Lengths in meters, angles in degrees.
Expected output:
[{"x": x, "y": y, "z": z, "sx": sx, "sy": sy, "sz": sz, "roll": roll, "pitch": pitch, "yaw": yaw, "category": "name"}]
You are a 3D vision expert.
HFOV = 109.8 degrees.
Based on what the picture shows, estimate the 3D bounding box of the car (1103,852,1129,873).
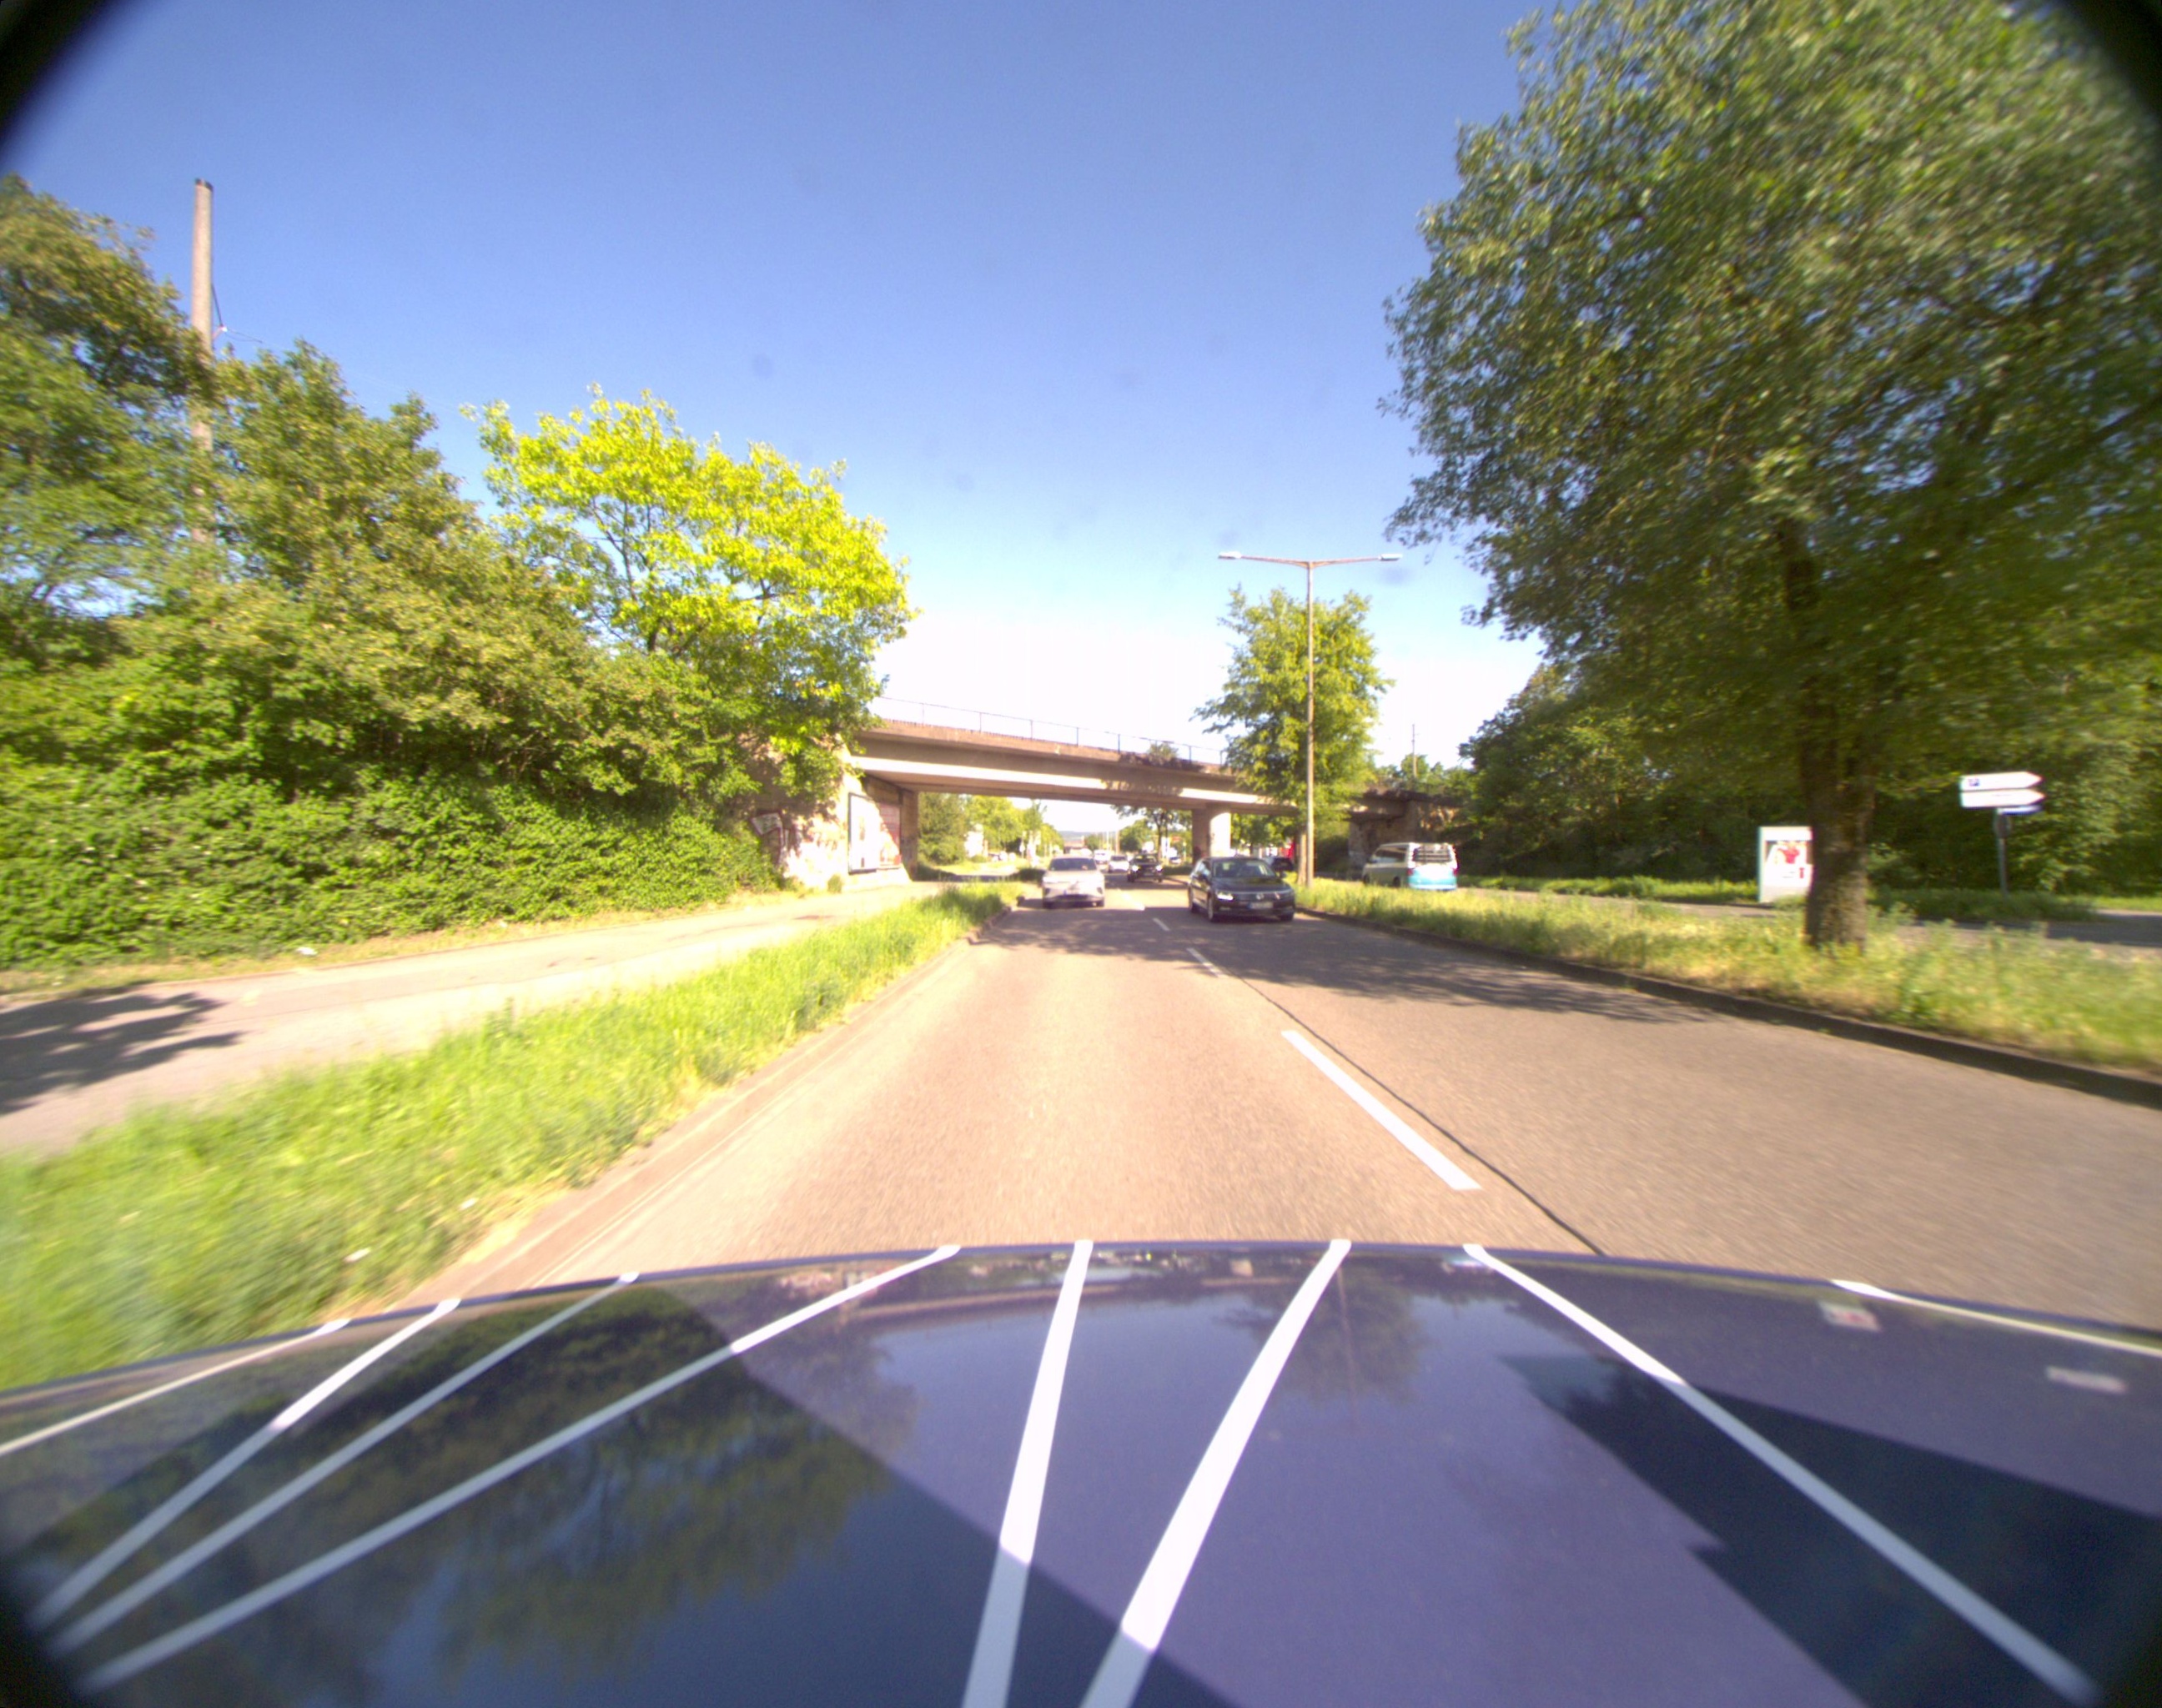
[{"x": 3.020, "y": 0.707, "z": 66.471, "sx": 1.998, "sy": 1.779, "sz": 4.270, "roll": -1, "pitch": 1, "yaw": 0, "category": "car"}]

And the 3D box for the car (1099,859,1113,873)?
[{"x": 4.064, "y": 1.945, "z": 123.025, "sx": 2.089, "sy": 2.230, "sz": 3.999, "roll": -1, "pitch": 1, "yaw": 0, "category": "car"}]

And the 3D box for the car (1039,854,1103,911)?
[{"x": -0.275, "y": 0.824, "z": 24.141, "sx": 1.848, "sy": 1.615, "sz": 4.265, "roll": -1, "pitch": 0, "yaw": 0, "category": "car"}]
